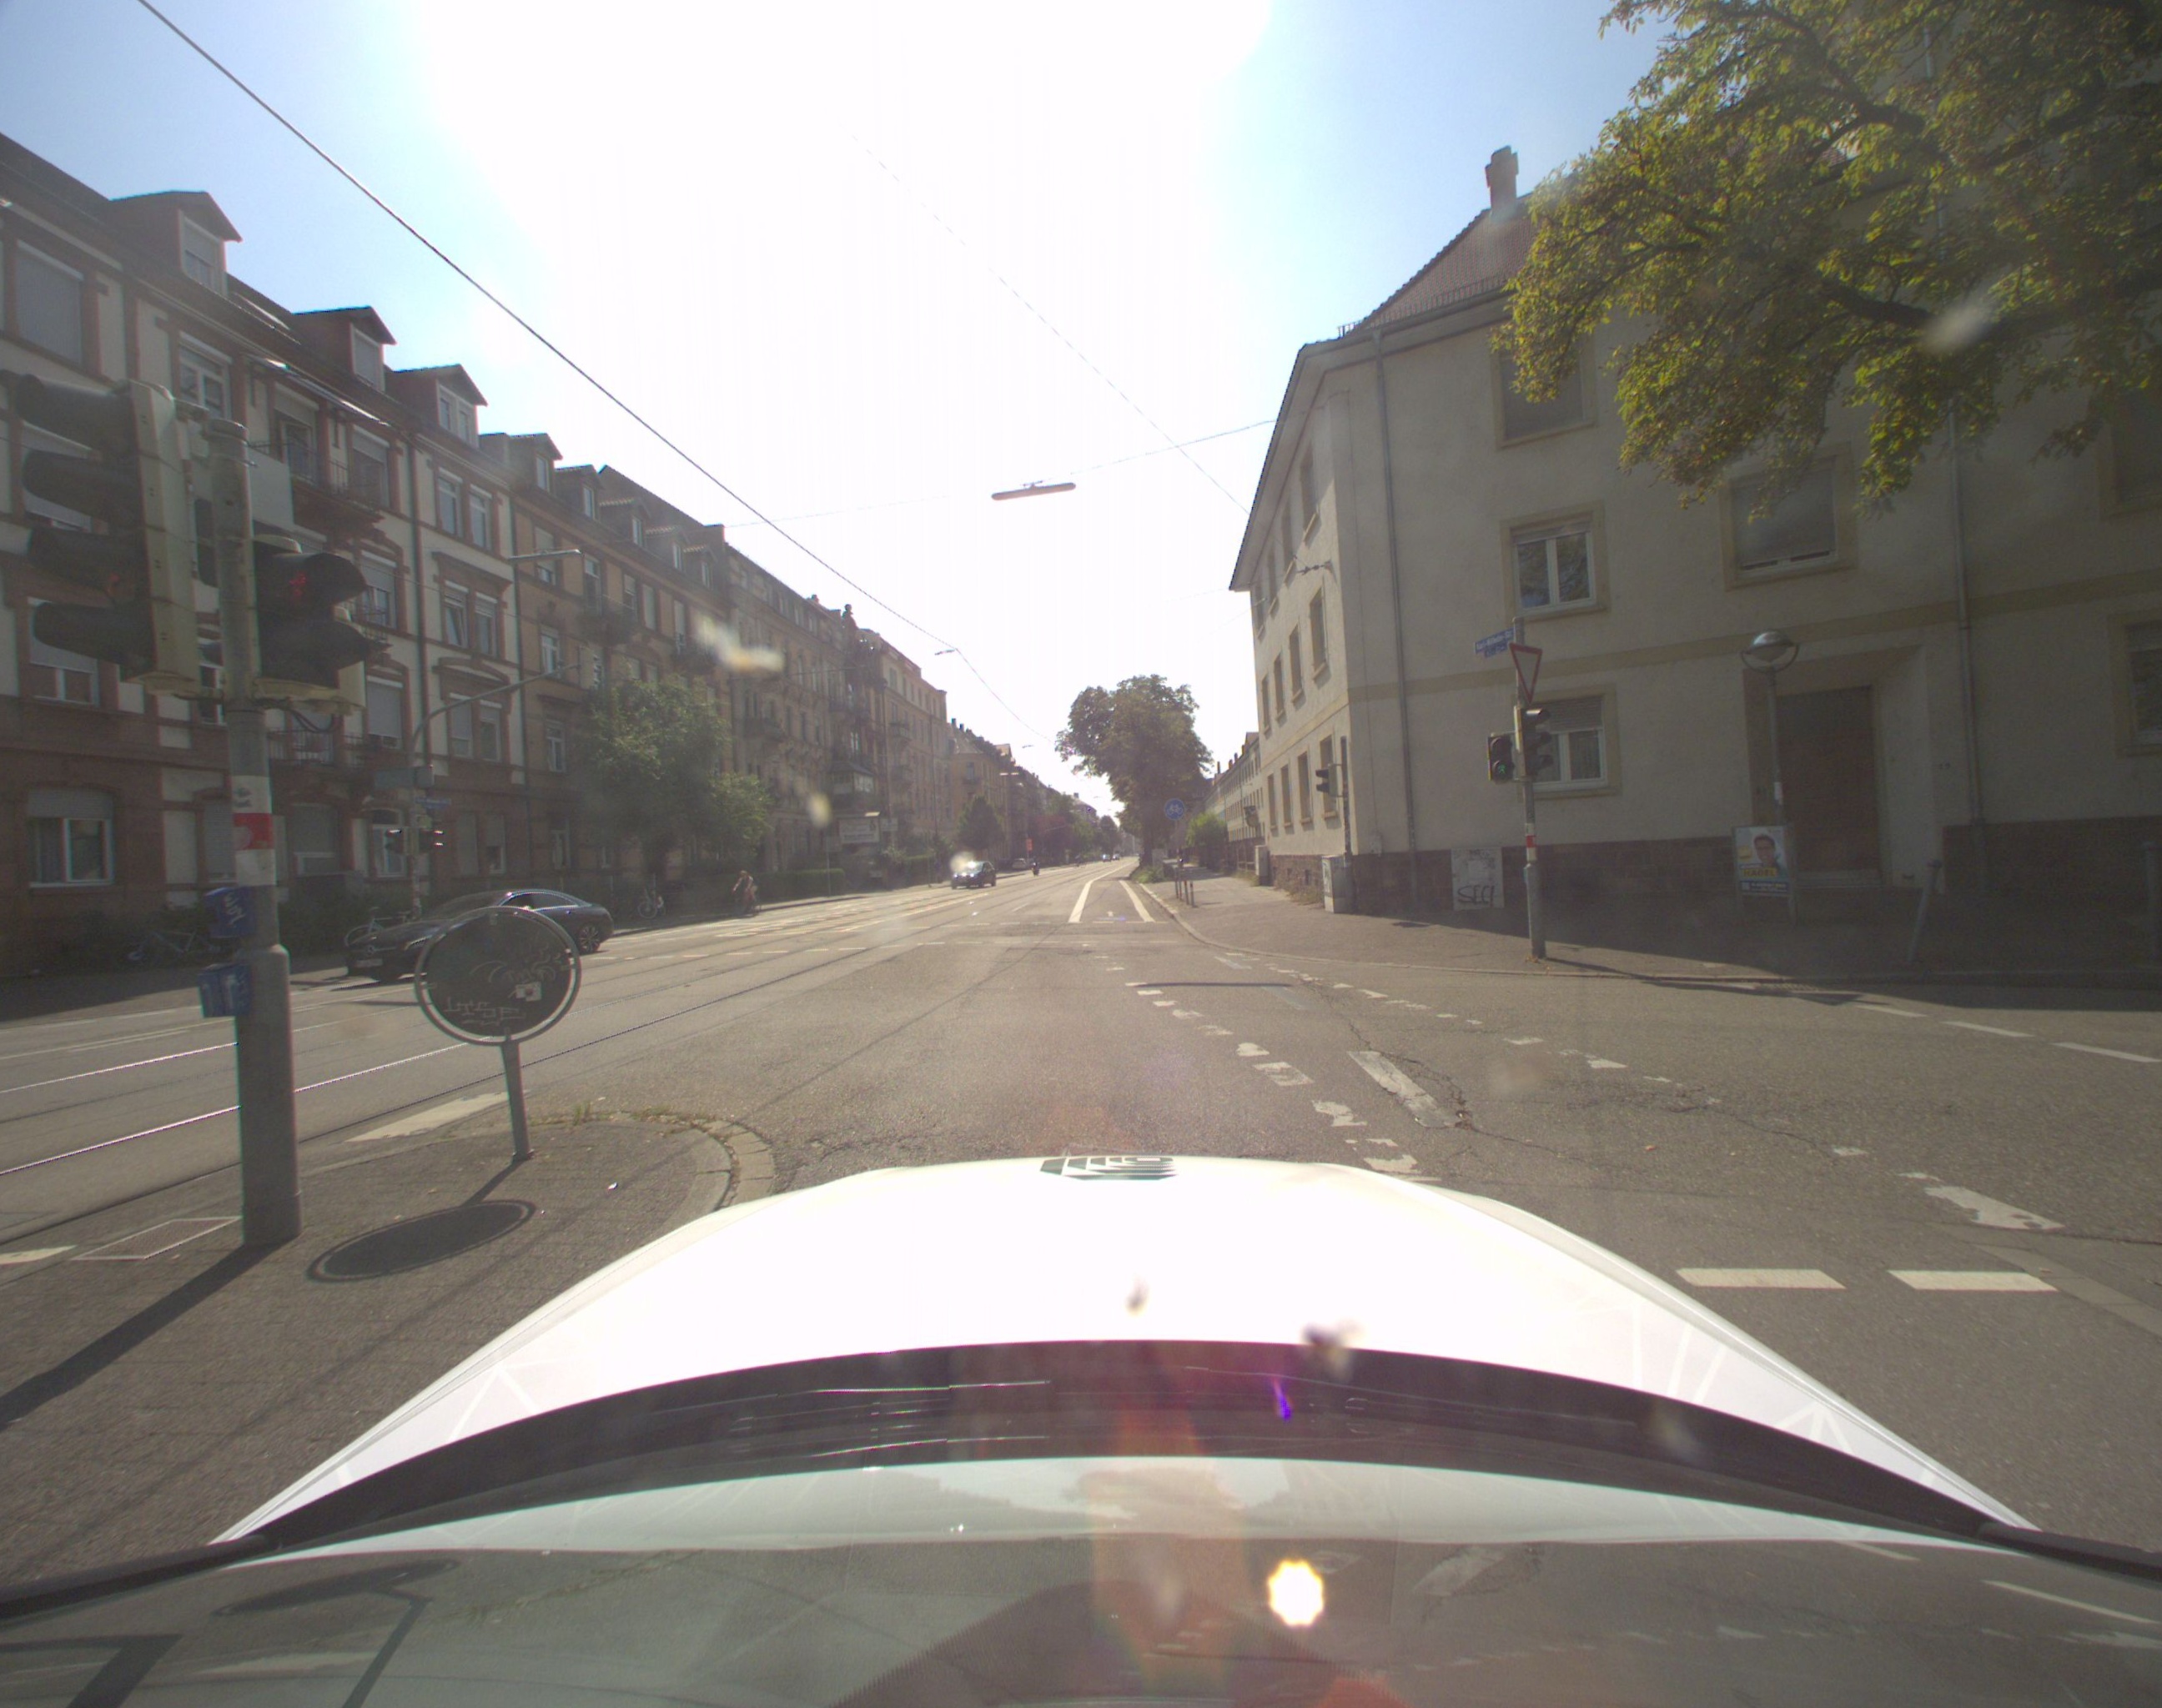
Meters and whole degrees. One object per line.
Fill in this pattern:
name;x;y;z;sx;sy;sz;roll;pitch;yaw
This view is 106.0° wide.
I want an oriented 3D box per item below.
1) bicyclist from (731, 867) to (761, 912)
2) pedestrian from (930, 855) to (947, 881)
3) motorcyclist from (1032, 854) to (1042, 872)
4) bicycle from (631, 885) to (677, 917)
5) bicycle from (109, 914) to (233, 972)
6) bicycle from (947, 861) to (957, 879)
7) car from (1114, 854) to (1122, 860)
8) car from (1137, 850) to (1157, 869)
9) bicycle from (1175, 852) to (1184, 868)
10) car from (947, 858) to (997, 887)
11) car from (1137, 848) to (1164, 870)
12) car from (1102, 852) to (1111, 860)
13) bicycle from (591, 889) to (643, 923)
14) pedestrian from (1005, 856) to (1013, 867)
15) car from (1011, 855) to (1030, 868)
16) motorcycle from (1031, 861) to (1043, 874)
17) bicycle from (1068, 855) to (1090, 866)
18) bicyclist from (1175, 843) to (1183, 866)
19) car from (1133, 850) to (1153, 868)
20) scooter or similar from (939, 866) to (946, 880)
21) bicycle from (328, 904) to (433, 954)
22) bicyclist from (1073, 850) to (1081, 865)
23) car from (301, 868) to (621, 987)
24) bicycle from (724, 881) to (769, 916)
bicyclist;-11.483;1.207;27.928;0.578;1.470;0.777;-3;0;4
pedestrian;-10.094;0.999;57.832;0.879;1.756;0.871;-3;0;5
motorcyclist;-3.883;0.805;71.341;0.686;1.511;0.774;-3;0;6
bicycle;-14.695;1.611;28.071;0.484;0.986;1.661;-3;0;8
bicycle;-19.017;1.844;17.057;0.389;0.997;1.689;-3;0;42
bicycle;-10.299;1.289;65.042;0.388;1.406;1.584;-3;0;6
car;9.448;0.699;207.909;1.724;1.490;4.005;-4;0;4
car;5.785;0.466;71.084;1.609;1.477;4.045;-5;0;5
bicycle;6.660;0.399;55.158;0.438;1.047;1.830;-3;0;2
car;-6.102;1.009;46.003;1.717;1.433;4.187;0;1;8
car;5.454;0.385;63.498;1.606;1.530;3.510;-4;0;11
car;5.502;0.463;174.799;1.819;1.540;4.005;-4;0;4
bicycle;-15.006;1.662;26.370;0.484;0.941;1.661;-3;0;8
pedestrian;-10.183;1.116;115.209;0.888;1.511;0.862;-3;0;-26
car;-8.081;0.997;108.496;1.986;1.594;4.361;-4;0;1
motorcycle;-3.868;1.205;71.275;0.688;1.031;2.161;-3;0;6
bicycle;-0.271;0.849;104.676;2.697;1.269;1.150;-3;0;-3
bicyclist;6.643;0.031;55.294;0.435;1.512;0.472;-3;0;1
car;6.193;0.490;81.497;1.747;1.477;4.464;-7;-1;5
scooter or similar;-9.715;1.352;57.187;0.399;0.982;0.584;-2;-1;-3
bicycle;-16.756;1.773;19.517;0.482;0.997;1.841;-3;0;42
bicyclist;-0.496;0.433;104.676;0.950;1.837;1.128;-3;-1;-1
car;-11.136;1.210;15.200;1.983;1.648;4.640;-4;0;7
bicycle;-11.467;1.514;27.957;0.578;1.066;1.846;-3;0;5
